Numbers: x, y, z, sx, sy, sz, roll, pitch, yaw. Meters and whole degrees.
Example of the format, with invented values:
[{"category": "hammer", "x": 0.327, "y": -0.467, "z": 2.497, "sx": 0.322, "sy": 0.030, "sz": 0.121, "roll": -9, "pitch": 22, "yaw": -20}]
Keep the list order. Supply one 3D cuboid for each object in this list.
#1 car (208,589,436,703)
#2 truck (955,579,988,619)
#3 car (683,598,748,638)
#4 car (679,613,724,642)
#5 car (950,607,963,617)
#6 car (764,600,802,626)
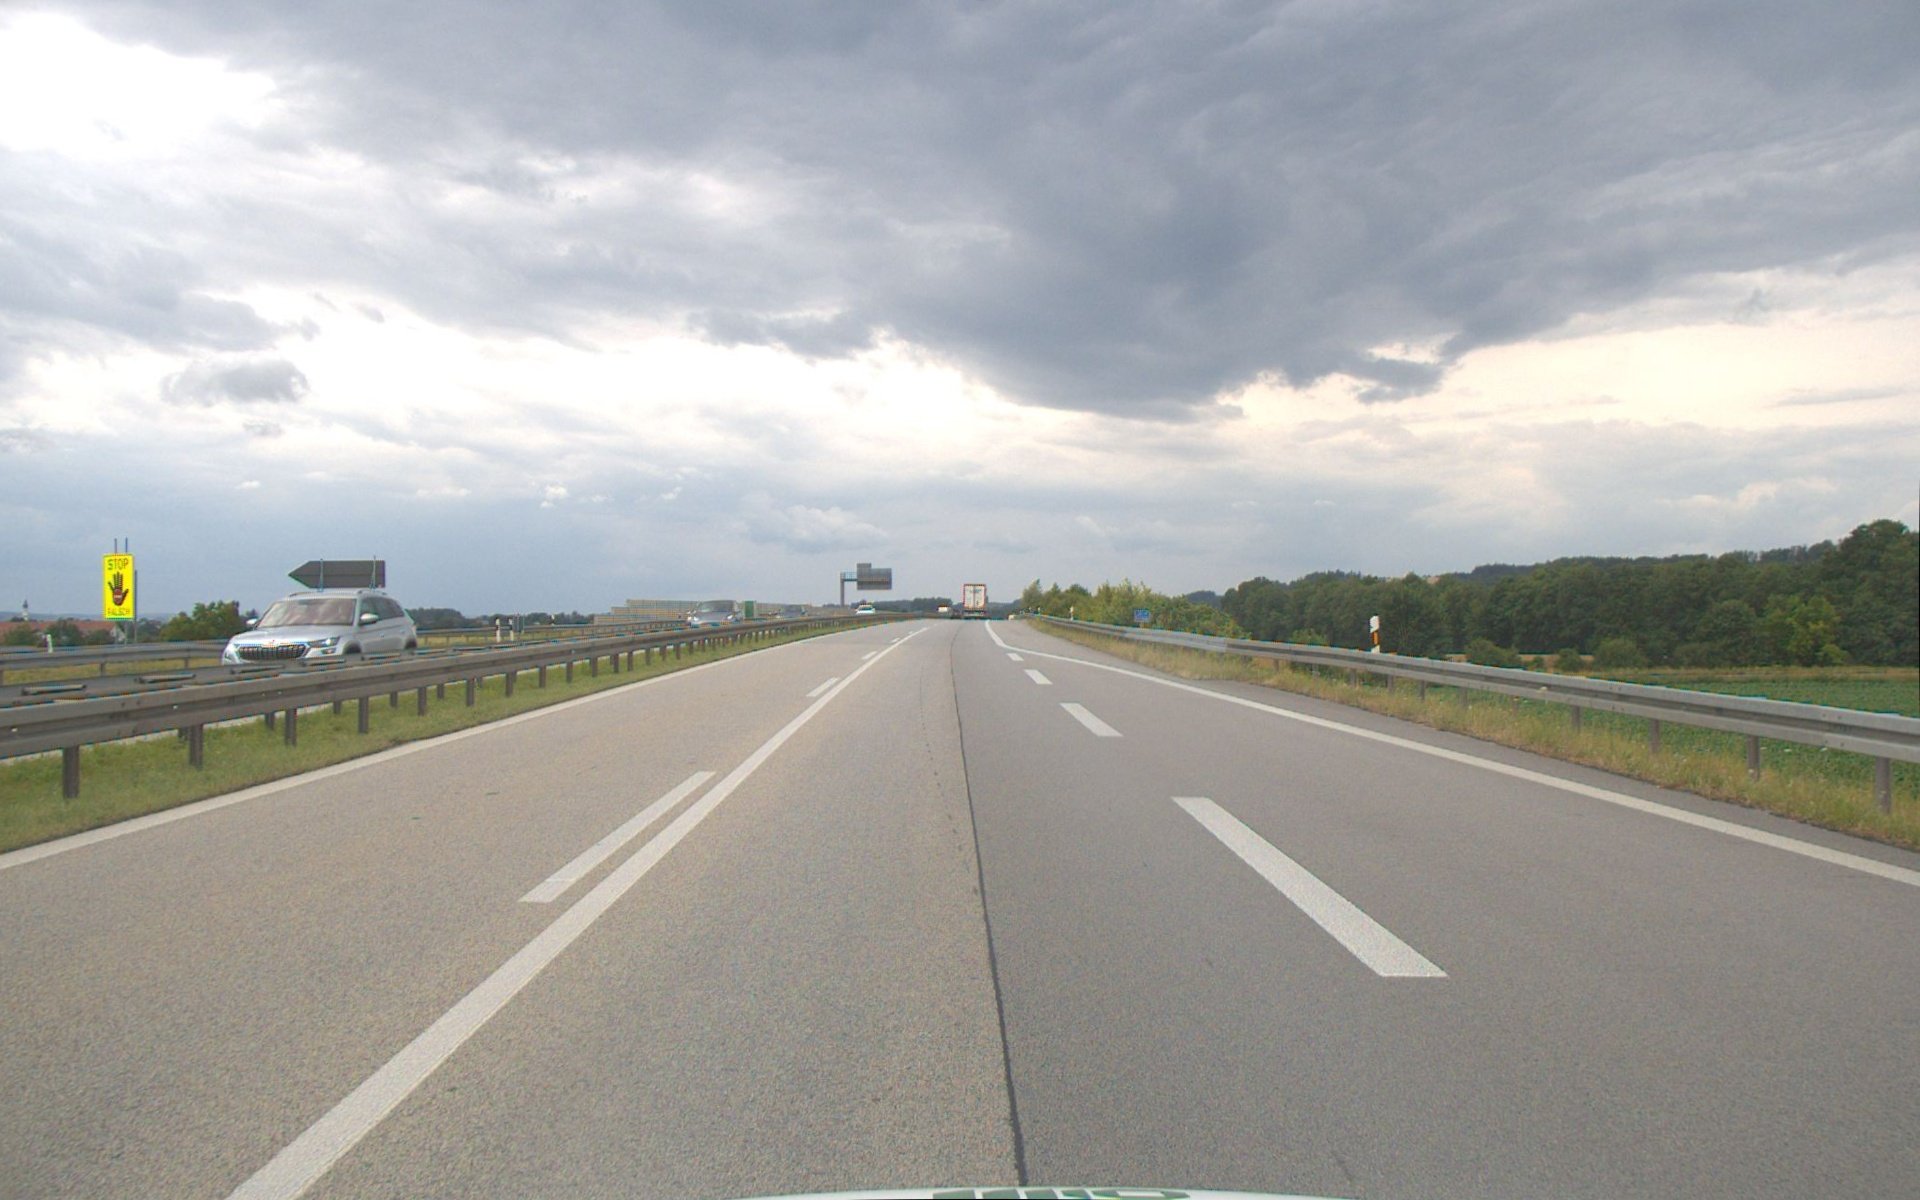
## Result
[{"category": "car", "x": -10.043, "y": 0.661, "z": 26.473, "sx": 1.853, "sy": 1.616, "sz": 4.761, "roll": -1, "pitch": 0, "yaw": -1}, {"category": "truck", "x": 1.507, "y": -0.001, "z": 200.885, "sx": 3.596, "sy": 4.490, "sz": 16.342, "roll": -1, "pitch": -1, "yaw": 2}, {"category": "car", "x": -10.457, "y": 0.746, "z": 70.971, "sx": 2.092, "sy": 1.616, "sz": 4.998, "roll": -1, "pitch": 0, "yaw": -1}, {"category": "car", "x": -13.738, "y": 1.442, "z": 88.134, "sx": 1.763, "sy": 1.417, "sz": 4.000, "roll": 1, "pitch": 1, "yaw": -1}, {"category": "car", "x": -0.509, "y": 1.859, "z": 249.443, "sx": 1.953, "sy": 1.445, "sz": 3.999, "roll": 1, "pitch": 0, "yaw": -1}, {"category": "car", "x": -10.209, "y": 0.729, "z": 95.748, "sx": 1.763, "sy": 1.417, "sz": 4.000, "roll": -1, "pitch": 0, "yaw": -1}]
